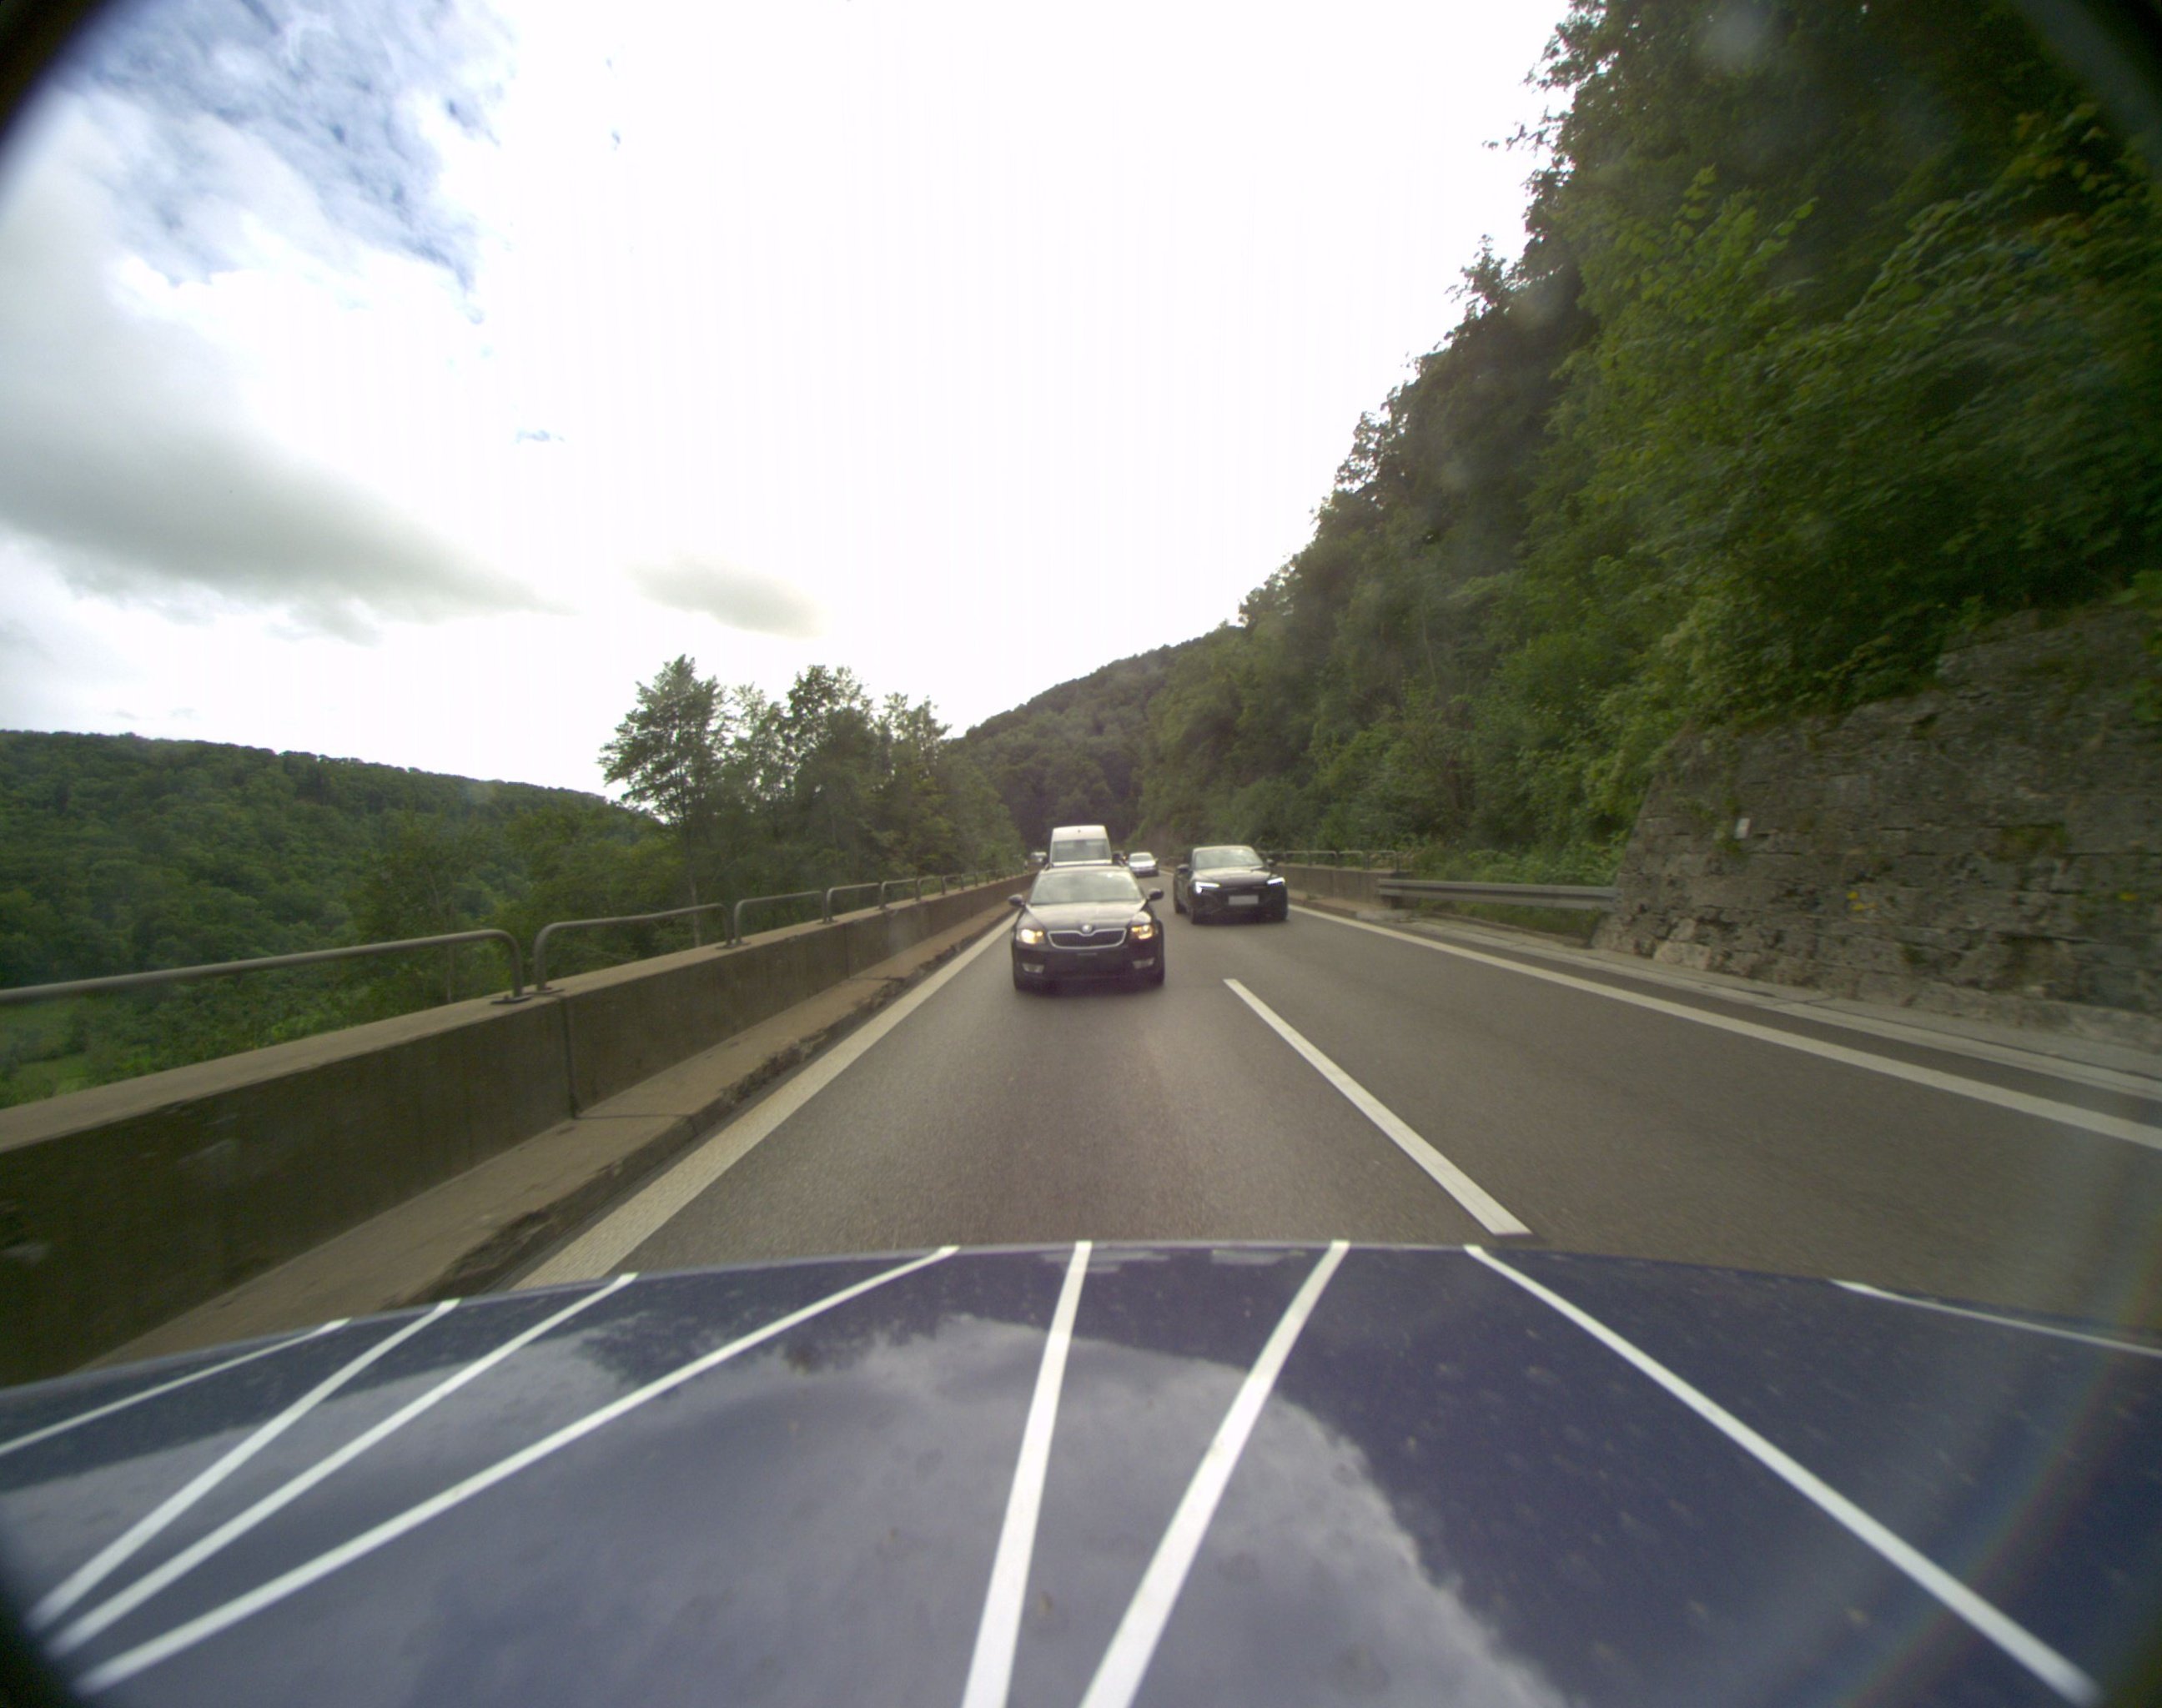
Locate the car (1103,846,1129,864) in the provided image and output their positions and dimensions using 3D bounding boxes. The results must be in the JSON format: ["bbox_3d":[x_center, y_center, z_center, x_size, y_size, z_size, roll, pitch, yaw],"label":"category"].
[{"bbox_3d":[3.667,0.101,80.858,1.814,1.647,4.579,-8,1,-8],"label":"car"}]

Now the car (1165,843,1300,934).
[{"bbox_3d":[3.197,0.650,17.176,1.998,1.622,5.008,-4,0,1],"label":"car"}]

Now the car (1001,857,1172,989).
[{"bbox_3d":[0.100,0.870,12.024,1.998,1.389,5.008,-7,0,1],"label":"car"}]

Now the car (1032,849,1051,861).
[{"bbox_3d":[-8.315,0.205,160.367,2.003,2.002,3.991,-7,2,-37],"label":"car"}]

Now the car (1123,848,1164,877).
[{"bbox_3d":[3.704,0.468,45.916,1.686,1.506,4.581,-6,1,-3],"label":"car"}]

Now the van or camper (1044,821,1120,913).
[{"bbox_3d":[0.034,0.354,25.238,2.081,2.575,5.911,-4,1,0],"label":"van or camper"}]
